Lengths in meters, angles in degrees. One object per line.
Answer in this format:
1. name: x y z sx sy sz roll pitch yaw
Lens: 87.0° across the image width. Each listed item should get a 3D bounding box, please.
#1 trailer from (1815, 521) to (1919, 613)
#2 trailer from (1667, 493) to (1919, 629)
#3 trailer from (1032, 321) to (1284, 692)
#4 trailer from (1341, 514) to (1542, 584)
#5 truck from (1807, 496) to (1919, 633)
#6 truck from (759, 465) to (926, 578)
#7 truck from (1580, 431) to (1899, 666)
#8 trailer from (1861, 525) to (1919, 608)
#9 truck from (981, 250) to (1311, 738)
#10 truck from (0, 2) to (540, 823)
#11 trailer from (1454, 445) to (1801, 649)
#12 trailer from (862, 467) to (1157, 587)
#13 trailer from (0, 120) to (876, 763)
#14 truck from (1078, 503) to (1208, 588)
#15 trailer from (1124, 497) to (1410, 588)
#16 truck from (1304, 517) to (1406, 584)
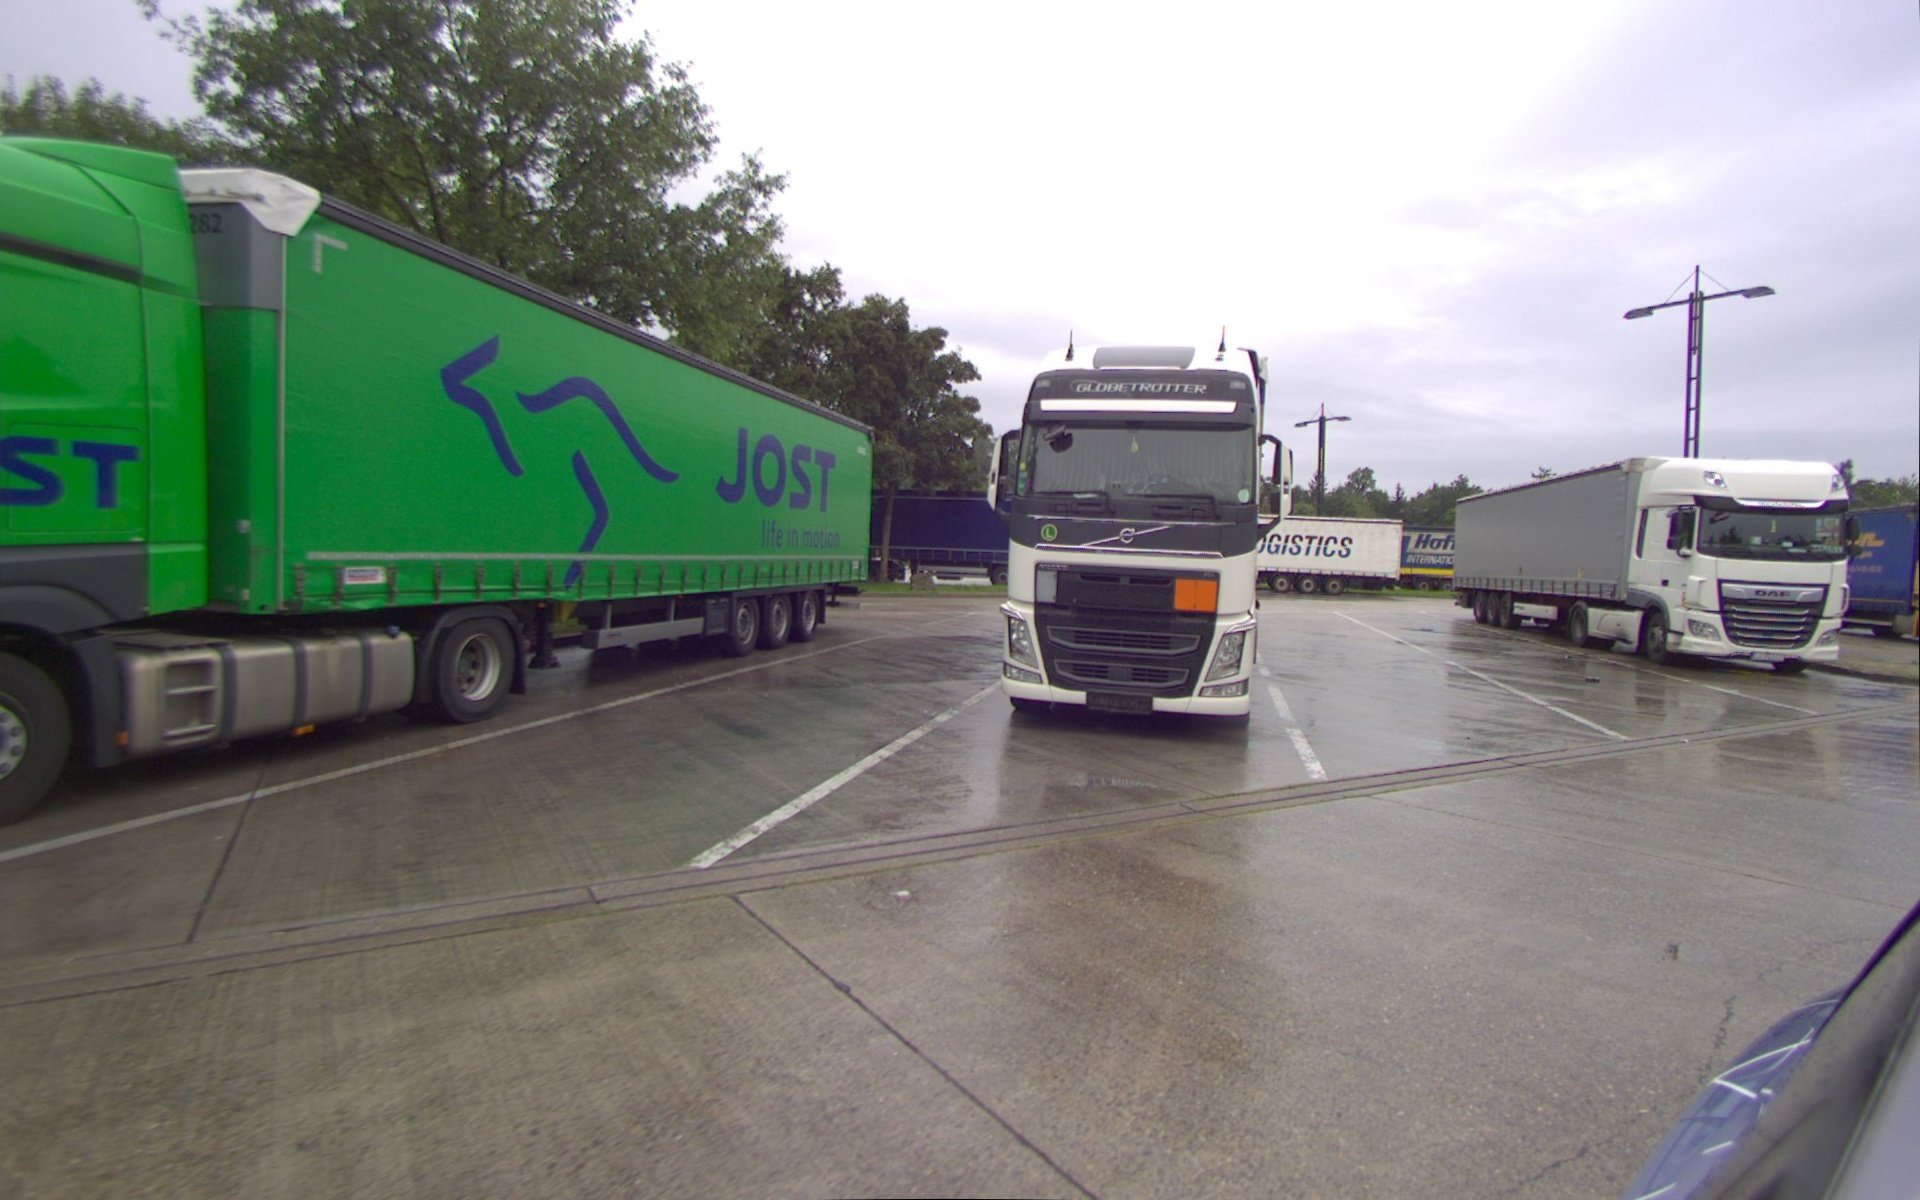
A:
1. trailer: 43.121 -1.332 43.055 3.195 3.966 14.792 2 3 10
2. trailer: 31.237 -1.431 37.051 2.827 3.966 16.569 2 3 14
3. trailer: 3.884 -1.425 18.679 2.785 4.221 13.943 2 3 13
4. trailer: 27.754 -2.898 58.750 10.228 3.803 2.062 0 0 12
5. truck: 29.652 -1.035 30.589 2.800 3.966 8.097 3 3 14
6. truck: -5.047 -3.389 44.048 6.438 4.562 3.247 2 2 13
7. truck: 14.946 -1.021 20.027 2.788 3.960 5.392 2 2 13
8. trailer: 47.077 -1.406 45.473 2.831 3.966 13.900 2 3 10
9. truck: 2.210 -1.069 11.652 2.785 4.196 5.283 2 3 14
10. truck: -5.976 -1.060 7.002 2.783 4.200 5.979 2 3 12
11. trailer: 16.506 -1.393 26.893 2.802 3.966 13.906 2 3 13
12. trailer: 2.085 -3.073 42.325 11.853 4.528 3.247 3 2 14
13. trailer: -4.513 -1.388 13.755 2.783 4.199 13.924 2 3 12
14. truck: 9.873 -2.831 54.553 6.683 4.329 2.657 0 0 14
15. trailer: 15.753 -2.884 53.050 13.955 4.312 2.657 0 0 14
16. truck: 23.245 -2.866 59.732 5.257 3.803 2.062 0 0 12
